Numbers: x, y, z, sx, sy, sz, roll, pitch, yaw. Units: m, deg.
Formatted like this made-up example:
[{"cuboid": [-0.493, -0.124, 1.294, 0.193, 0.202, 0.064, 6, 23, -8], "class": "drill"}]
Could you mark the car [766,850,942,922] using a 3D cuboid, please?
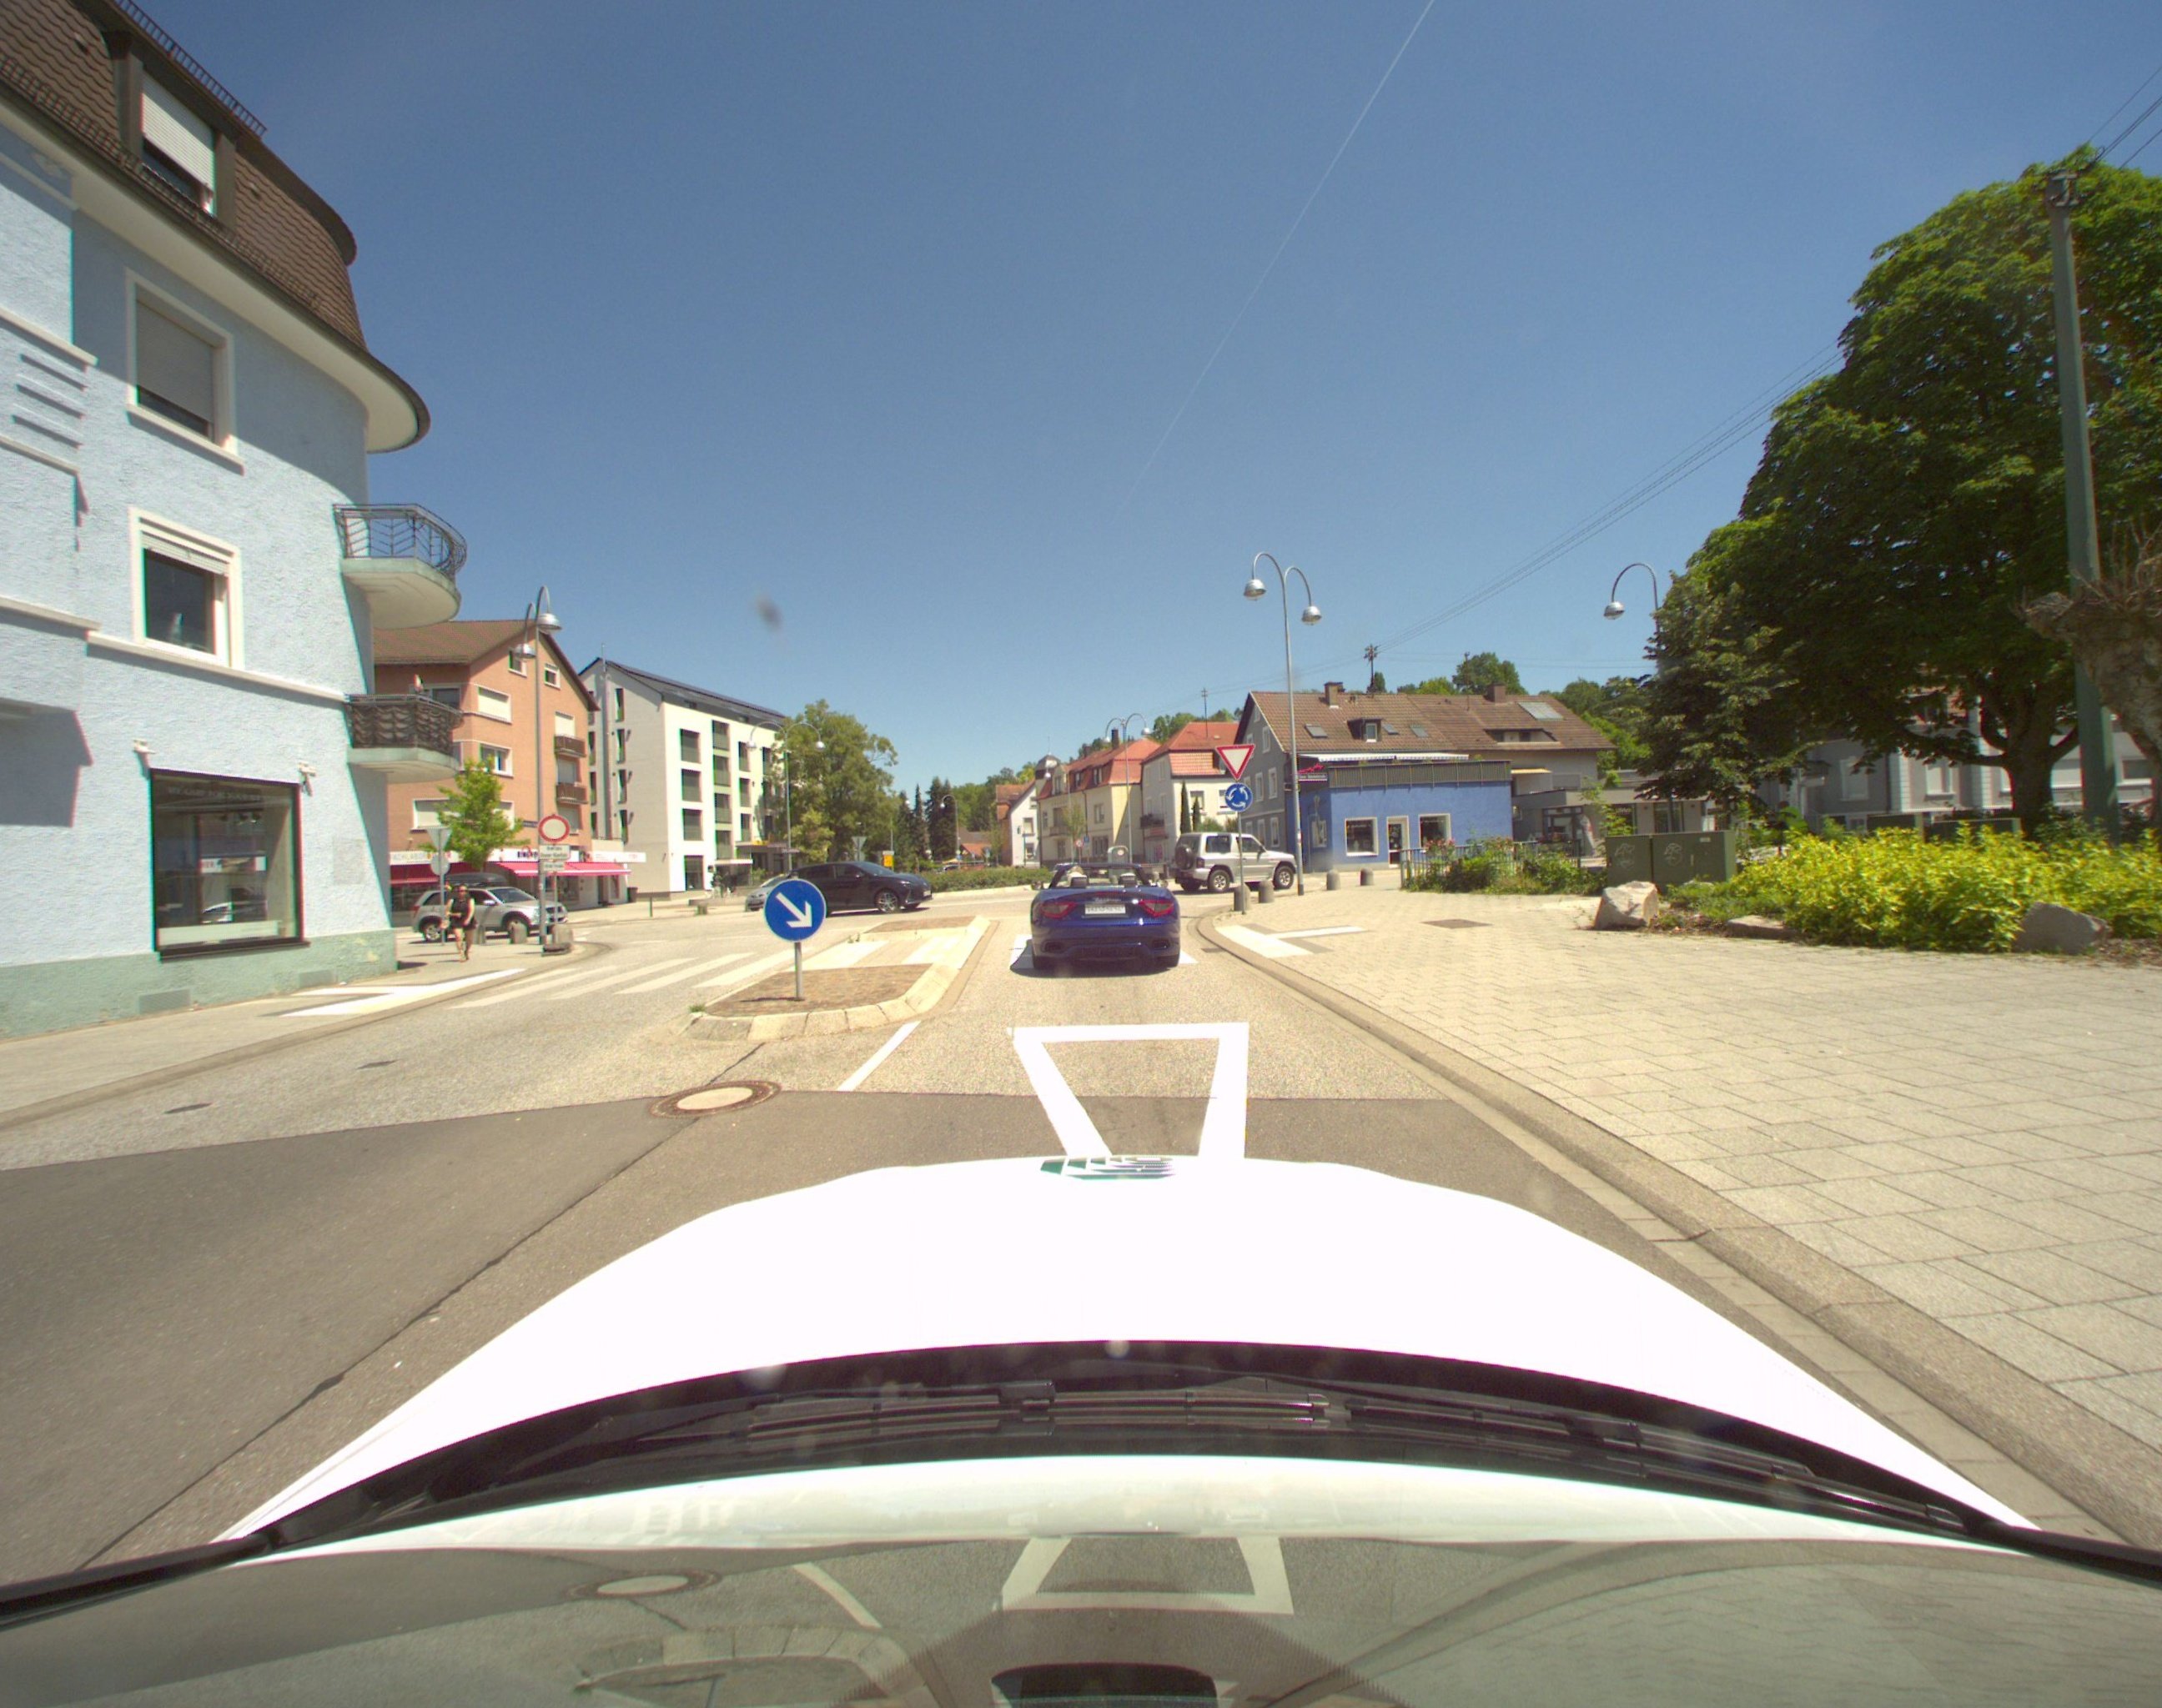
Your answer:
[{"cuboid": [-6.274, 0.877, 22.774, 4.224, 1.547, 1.816, -5, 0, 8], "class": "car"}]

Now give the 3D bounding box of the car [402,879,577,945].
[{"cuboid": [-18.868, 1.820, 26.108, 4.173, 1.688, 1.838, -4, 1, 1], "class": "car"}]

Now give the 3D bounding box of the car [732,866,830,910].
[{"cuboid": [-12.207, 1.356, 33.353, 1.560, 1.450, 3.492, -5, 1, 29], "class": "car"}]

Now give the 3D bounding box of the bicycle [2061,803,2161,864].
[{"cuboid": [19.880, -0.395, 15.221, 0.749, 1.083, 1.833, -3, -1, -27], "class": "bicycle"}]

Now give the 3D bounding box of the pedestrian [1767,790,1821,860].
[{"cuboid": [18.967, -0.766, 21.677, 0.733, 1.799, 0.681, -4, 0, 4], "class": "pedestrian"}]

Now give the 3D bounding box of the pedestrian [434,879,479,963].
[{"cuboid": [-12.303, 1.303, 16.049, 0.508, 1.585, 0.550, -4, -1, 42], "class": "pedestrian"}]

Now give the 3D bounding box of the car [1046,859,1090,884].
[{"cuboid": [-0.980, 1.292, 59.036, 1.924, 1.613, 4.120, -3, -2, -19], "class": "car"}]

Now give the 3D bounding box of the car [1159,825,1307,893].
[{"cuboid": [4.700, 0.105, 25.123, 4.236, 1.874, 1.750, -2, 2, -24], "class": "car"}]

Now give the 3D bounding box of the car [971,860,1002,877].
[{"cuboid": [-10.017, 1.519, 86.145, 1.862, 1.588, 3.961, -4, 0, -30], "class": "car"}]

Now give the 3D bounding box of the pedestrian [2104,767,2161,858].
[{"cuboid": [19.842, -0.767, 15.211, 0.749, 1.632, 0.712, -3, -1, -27], "class": "pedestrian"}]

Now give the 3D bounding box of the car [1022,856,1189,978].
[{"cuboid": [0.362, 0.753, 11.646, 1.903, 1.360, 4.287, -2, -1, 2], "class": "car"}]
